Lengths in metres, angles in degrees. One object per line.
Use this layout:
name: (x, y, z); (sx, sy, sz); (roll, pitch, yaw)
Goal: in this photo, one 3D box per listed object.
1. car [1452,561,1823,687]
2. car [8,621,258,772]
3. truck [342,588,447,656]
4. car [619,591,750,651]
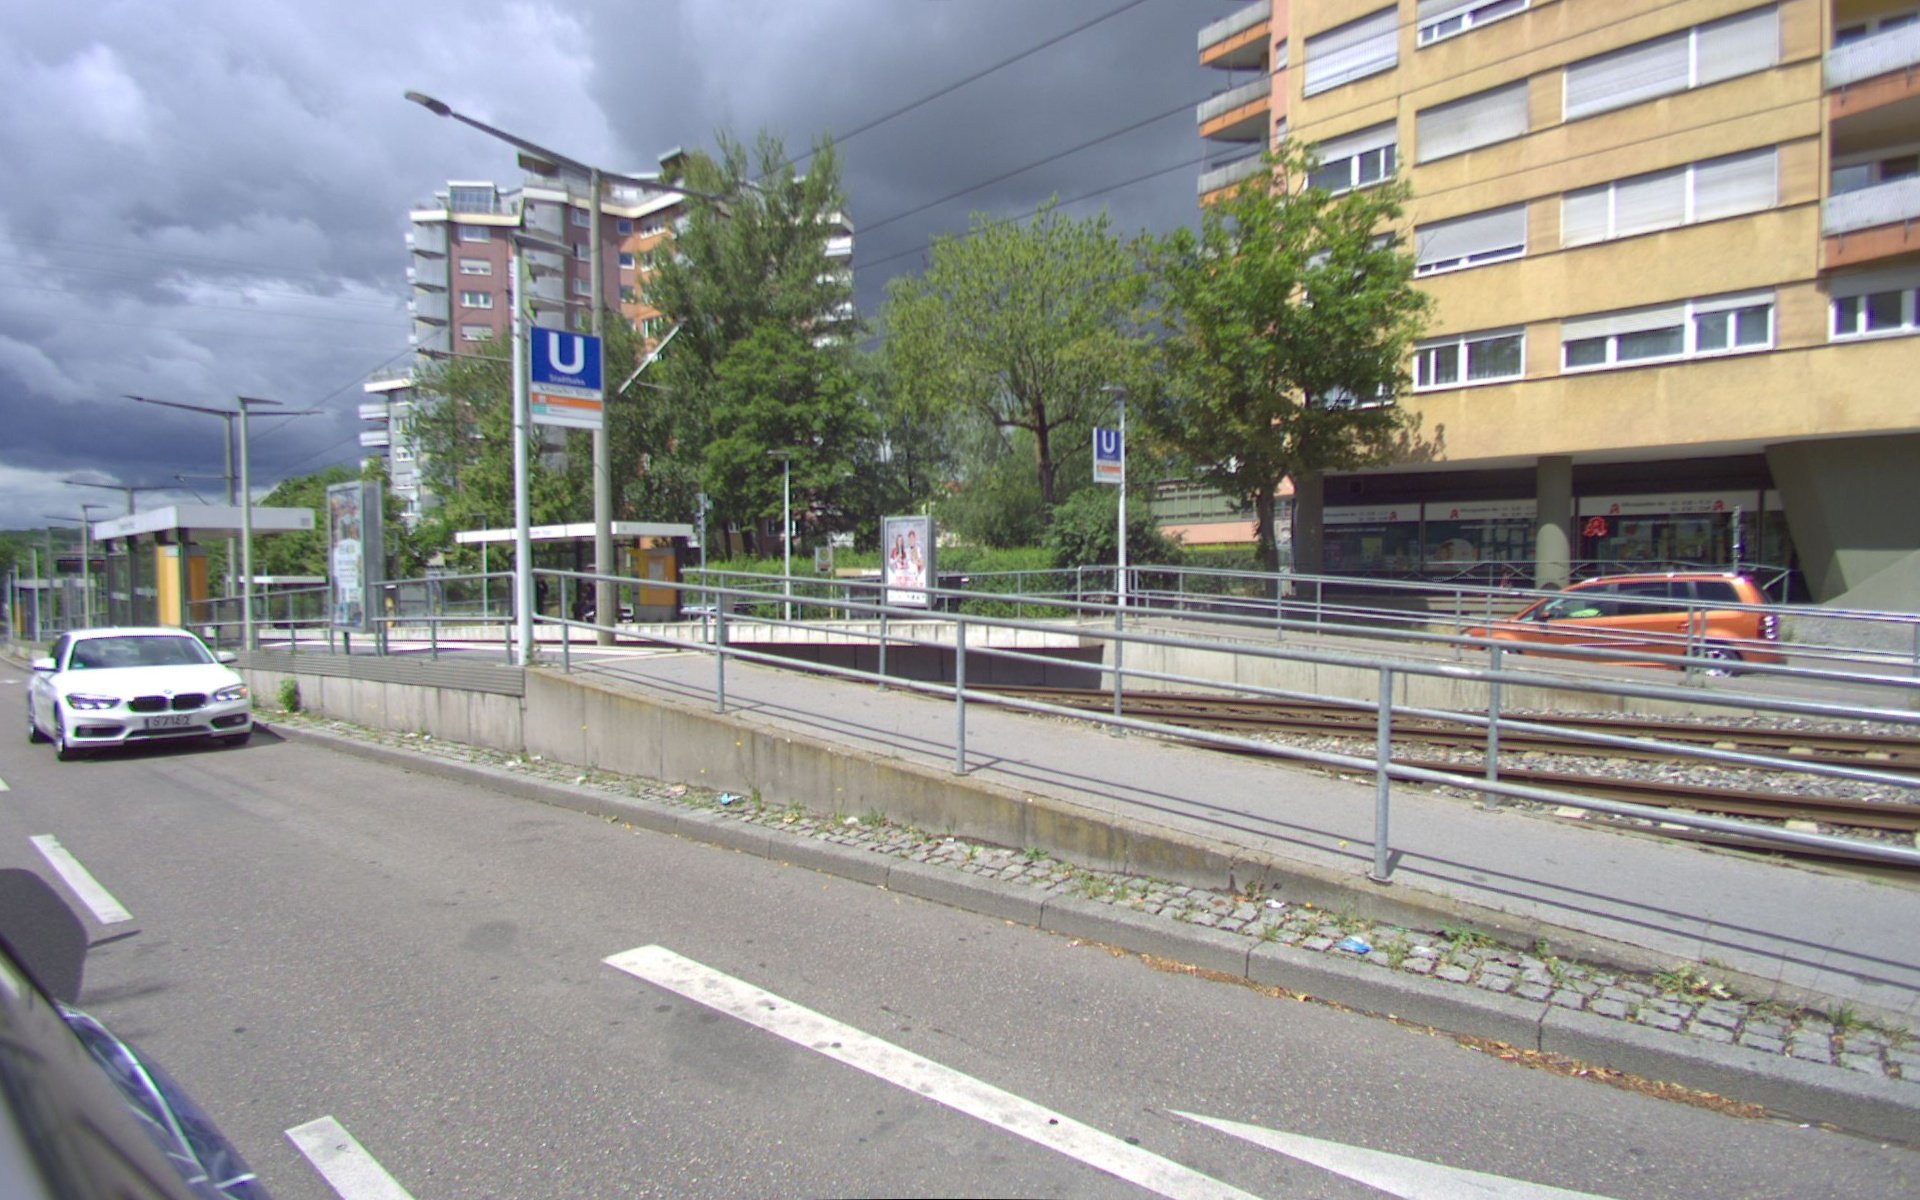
car: (10.159, 0.366, 15.400); (4.457, 1.647, 1.973); (-1, -2, 40)
car: (-10.059, 1.016, 12.201); (3.998, 1.472, 1.710); (-1, 0, 42)
truck: (-28.986, 1.143, 51.729); (7.260, 3.247, 2.389); (-2, -1, 42)
car: (-8.925, 0.674, 32.613); (4.509, 1.815, 1.972); (-1, -2, 42)
